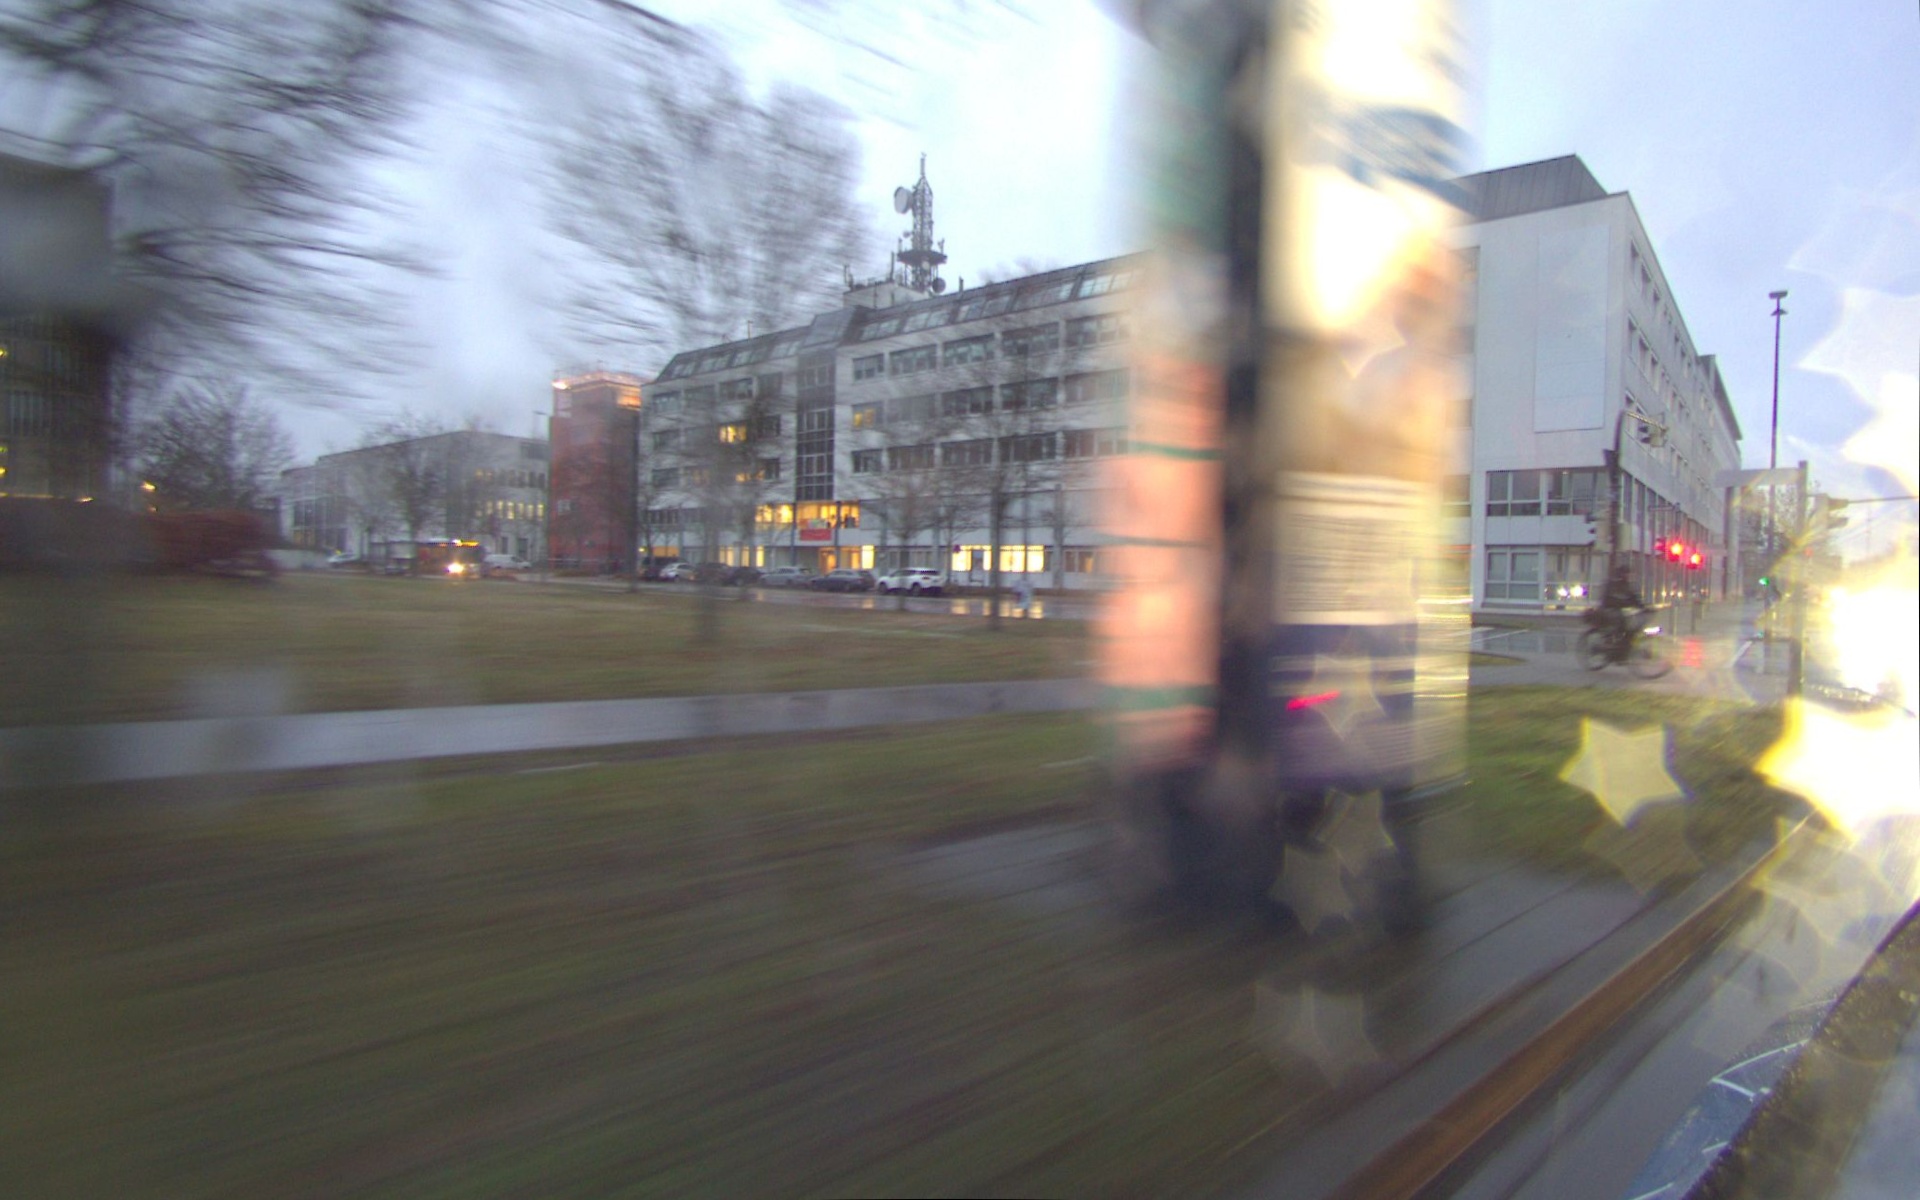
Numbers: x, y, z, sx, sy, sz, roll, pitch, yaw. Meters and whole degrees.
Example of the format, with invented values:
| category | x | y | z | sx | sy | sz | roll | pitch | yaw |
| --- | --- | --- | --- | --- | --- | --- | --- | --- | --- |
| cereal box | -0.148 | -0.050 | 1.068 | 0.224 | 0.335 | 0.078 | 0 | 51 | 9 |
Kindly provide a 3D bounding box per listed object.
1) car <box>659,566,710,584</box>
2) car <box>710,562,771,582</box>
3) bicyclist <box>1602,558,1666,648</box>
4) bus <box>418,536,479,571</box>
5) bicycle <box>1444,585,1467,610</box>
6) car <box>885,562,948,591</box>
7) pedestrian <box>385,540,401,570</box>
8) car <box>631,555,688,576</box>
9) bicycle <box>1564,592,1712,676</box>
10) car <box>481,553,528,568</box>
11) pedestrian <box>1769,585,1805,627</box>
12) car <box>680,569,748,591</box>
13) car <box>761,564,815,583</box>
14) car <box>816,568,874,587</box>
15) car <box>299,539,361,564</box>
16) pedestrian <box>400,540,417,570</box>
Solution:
| category | x | y | z | sx | sy | sz | roll | pitch | yaw |
| --- | --- | --- | --- | --- | --- | --- | --- | --- | --- |
| car | -21.311 | -1.948 | 78.283 | 1.698 | 1.329 | 3.446 | 0 | 2 | 41 |
| car | -15.716 | -2.010 | 72.626 | 1.765 | 1.439 | 4.074 | 0 | 2 | 41 |
| bicyclist | 11.228 | 0.039 | 16.853 | 0.751 | 1.448 | 0.912 | 0 | 1 | 43 |
| bus | -43.236 | -3.894 | 85.408 | 2.260 | 2.746 | 8.126 | -2 | 2 | -44 |
| bicycle | 22.883 | -0.115 | 46.720 | 0.469 | 1.118 | 1.848 | 3 | 2 | 40 |
| car | -2.540 | -1.352 | 59.243 | 3.267 | 1.657 | 1.970 | 0 | 2 | 42 |
| pedestrian | -38.629 | -3.049 | 68.943 | 0.788 | 2.039 | 0.640 | -1 | 1 | -43 |
| car | -23.550 | -2.715 | 79.332 | 1.600 | 1.547 | 4.064 | 0 | 2 | 41 |
| bicycle | 11.256 | 0.533 | 16.821 | 1.959 | 1.231 | 1.026 | 3 | 1 | 38 |
| car | -44.094 | -3.817 | 97.940 | 1.665 | 1.472 | 3.807 | 0 | 2 | 43 |
| pedestrian | 37.435 | 0.264 | 45.824 | 0.843 | 1.771 | 0.801 | 3 | 4 | -22 |
| car | -18.202 | -1.509 | 75.031 | 1.766 | 1.575 | 4.740 | 0 | 2 | 43 |
| car | -11.620 | -1.760 | 68.335 | 3.774 | 1.241 | 1.359 | 0 | 1 | 37 |
| car | -7.372 | -1.425 | 64.805 | 3.700 | 1.199 | 1.521 | 0 | 2 | 37 |
| car | -53.347 | -4.060 | 85.679 | 4.208 | 2.039 | 1.997 | -2 | 2 | -41 |
| pedestrian | -37.922 | -3.111 | 69.620 | 0.748 | 2.039 | 0.803 | 0 | 1 | 41 |
